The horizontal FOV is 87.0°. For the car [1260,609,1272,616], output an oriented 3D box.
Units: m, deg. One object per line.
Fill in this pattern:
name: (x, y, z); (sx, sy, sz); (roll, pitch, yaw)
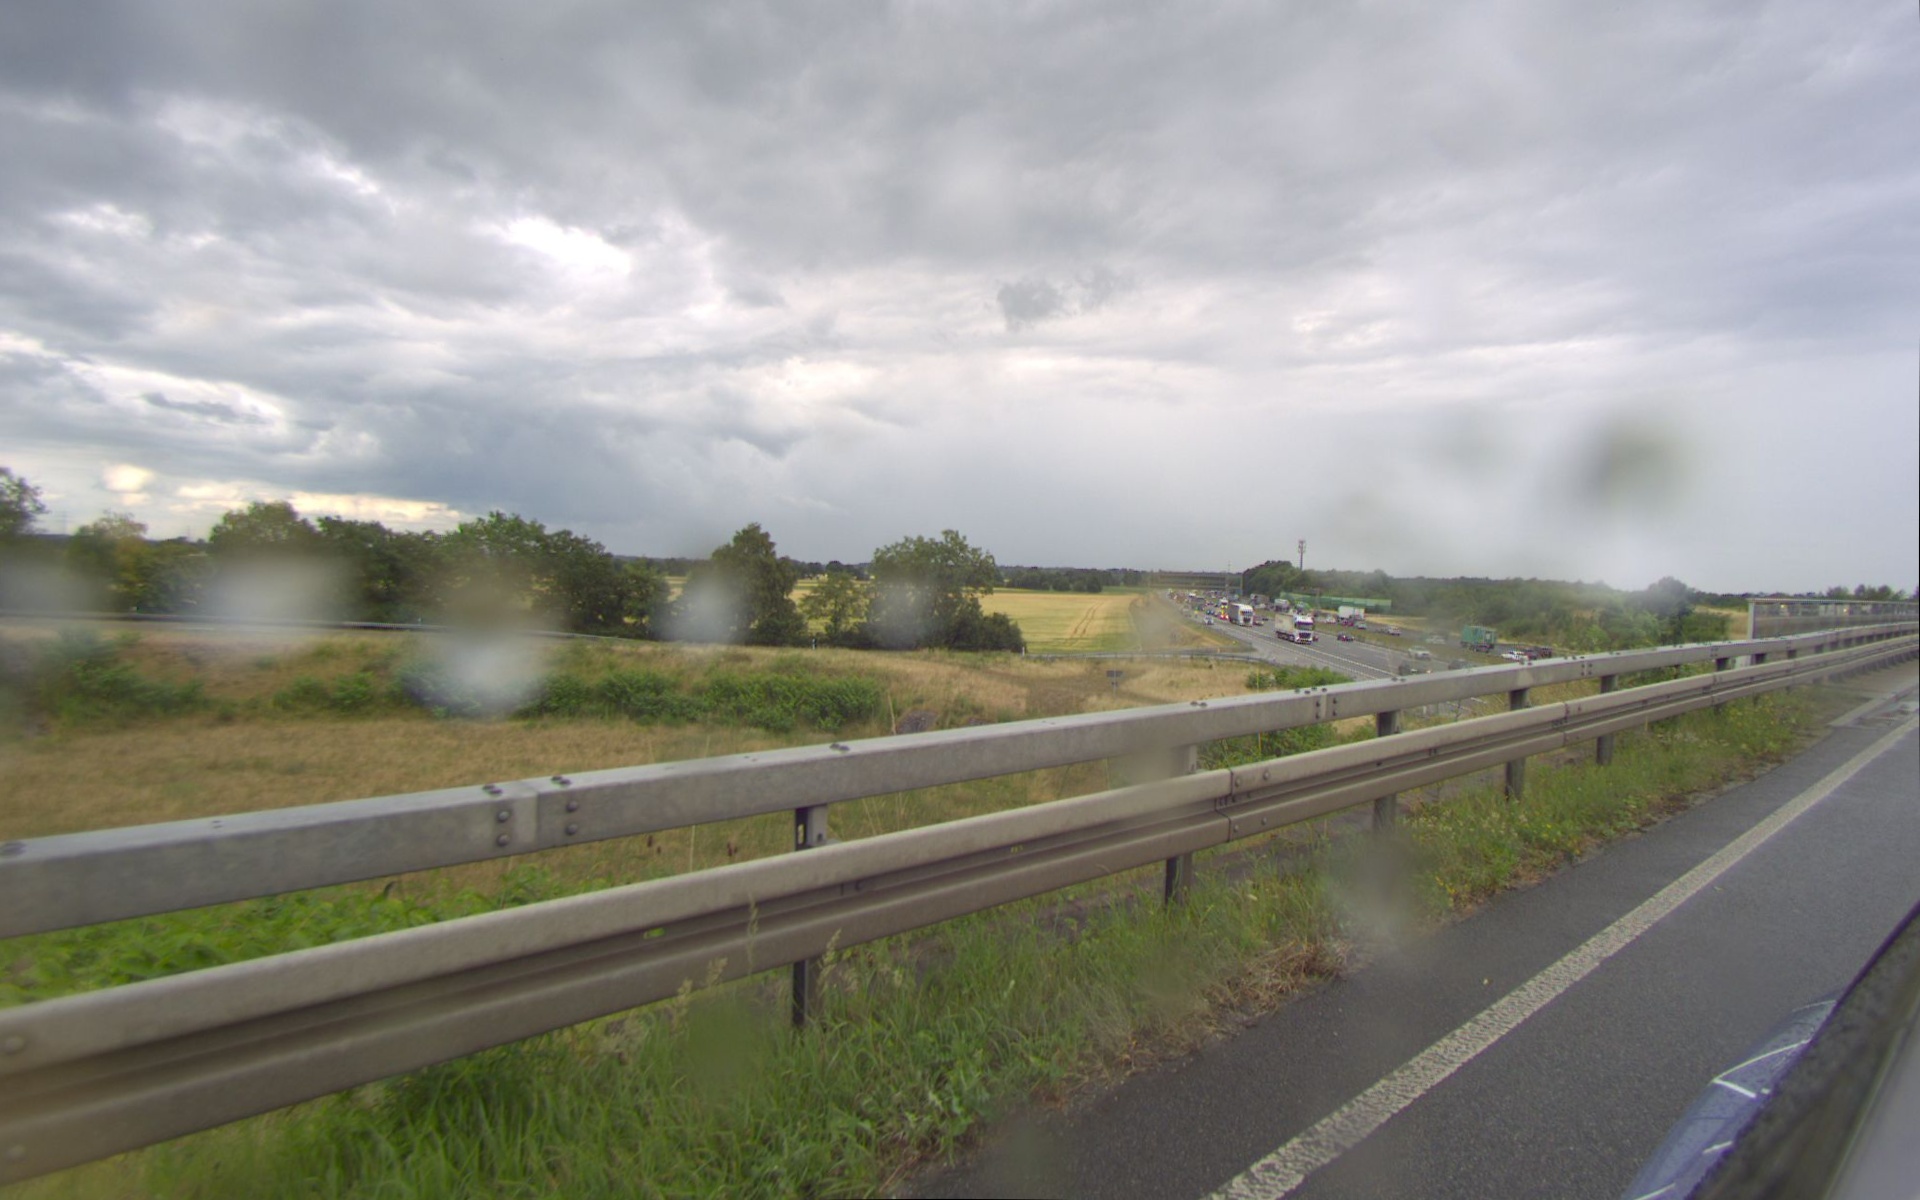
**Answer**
car: (74.130, 3.050, 245.222); (1.826, 1.690, 4.714); (1, 0, 8)

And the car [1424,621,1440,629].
car: (103.398, 5.434, 221.551); (1.826, 1.690, 4.714); (1, 0, 8)

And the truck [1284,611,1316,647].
truck: (51.208, 4.270, 152.693); (2.750, 4.961, 12.714); (1, 0, 11)

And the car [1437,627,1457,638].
car: (87.676, 5.856, 182.153); (1.826, 1.690, 4.714); (1, 0, 8)

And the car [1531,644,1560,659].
car: (83.145, 7.304, 143.828); (1.824, 1.690, 4.717); (1, 0, 6)

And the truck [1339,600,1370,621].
truck: (96.273, 2.462, 247.188); (3.544, 4.594, 15.592); (1, 1, 8)

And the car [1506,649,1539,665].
car: (69.280, 7.012, 124.779); (1.824, 1.690, 4.717); (1, 0, 6)

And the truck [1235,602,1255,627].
truck: (57.177, 2.891, 203.297); (2.750, 4.675, 12.714); (1, 0, 11)

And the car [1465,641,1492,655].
car: (74.985, 6.878, 146.308); (1.824, 1.690, 4.717); (1, 0, 6)

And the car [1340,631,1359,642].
car: (64.205, 6.015, 166.907); (1.826, 1.690, 4.714); (1, 0, 8)

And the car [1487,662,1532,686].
car: (47.616, 6.369, 87.730); (1.826, 1.690, 4.714); (1, 0, 8)

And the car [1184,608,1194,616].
car: (53.512, 2.755, 236.576); (1.826, 1.690, 4.714); (1, 0, 8)

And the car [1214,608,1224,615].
car: (63.205, 2.816, 246.638); (1.826, 1.690, 4.714); (1, 0, 8)

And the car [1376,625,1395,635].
car: (75.329, 5.322, 179.236); (1.826, 1.690, 4.714); (1, 0, 8)

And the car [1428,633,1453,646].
car: (72.854, 5.978, 153.533); (1.824, 1.690, 4.717); (1, 0, 6)

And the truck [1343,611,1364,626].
truck: (88.823, 4.142, 228.446); (2.175, 3.003, 9.288); (1, 0, 8)

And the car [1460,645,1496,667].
car: (52.405, 5.727, 102.488); (1.967, 2.041, 3.986); (-4, -5, 9)

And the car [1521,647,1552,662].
car: (76.551, 7.255, 134.382); (1.824, 1.690, 4.717); (1, 0, 6)

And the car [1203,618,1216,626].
car: (48.901, 4.240, 198.371); (1.783, 1.454, 4.716); (1, 1, 7)

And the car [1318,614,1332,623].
car: (81.802, 4.136, 226.891); (1.826, 1.690, 4.714); (1, 0, 8)

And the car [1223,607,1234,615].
car: (60.938, 2.584, 230.117); (1.826, 1.690, 4.714); (1, 0, 8)

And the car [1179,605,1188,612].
car: (55.036, 2.141, 249.621); (1.826, 1.690, 4.714); (1, 0, 8)

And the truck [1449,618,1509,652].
truck: (81.557, 5.411, 159.498); (3.544, 4.594, 15.592); (1, 1, 8)

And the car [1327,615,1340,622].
car: (87.087, 4.316, 236.233); (1.826, 1.690, 4.714); (1, 0, 8)

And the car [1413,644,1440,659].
car: (59.720, 6.599, 129.616); (1.966, 1.643, 3.990); (-4, -2, 8)

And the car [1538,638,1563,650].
car: (97.187, 7.221, 166.721); (1.826, 1.690, 4.714); (1, 0, 8)

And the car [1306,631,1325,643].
car: (56.273, 5.855, 160.261); (1.826, 1.690, 4.714); (1, 0, 8)

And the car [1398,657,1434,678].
car: (44.374, 6.518, 98.559); (1.826, 1.690, 4.714); (1, 0, 8)

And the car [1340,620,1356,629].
car: (79.238, 5.003, 206.697); (1.826, 1.690, 4.714); (1, 0, 8)

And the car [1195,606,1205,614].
car: (55.314, 2.212, 233.007); (1.826, 1.689, 4.714); (1, 1, 8)

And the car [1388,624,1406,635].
car: (80.983, 5.471, 187.524); (1.826, 1.690, 4.714); (1, 0, 8)

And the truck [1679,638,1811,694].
truck: (79.255, 6.532, 102.803); (3.541, 4.594, 14.083); (1, 0, 5)

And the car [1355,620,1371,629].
car: (83.553, 5.081, 209.908); (1.826, 1.690, 4.714); (1, 0, 8)
